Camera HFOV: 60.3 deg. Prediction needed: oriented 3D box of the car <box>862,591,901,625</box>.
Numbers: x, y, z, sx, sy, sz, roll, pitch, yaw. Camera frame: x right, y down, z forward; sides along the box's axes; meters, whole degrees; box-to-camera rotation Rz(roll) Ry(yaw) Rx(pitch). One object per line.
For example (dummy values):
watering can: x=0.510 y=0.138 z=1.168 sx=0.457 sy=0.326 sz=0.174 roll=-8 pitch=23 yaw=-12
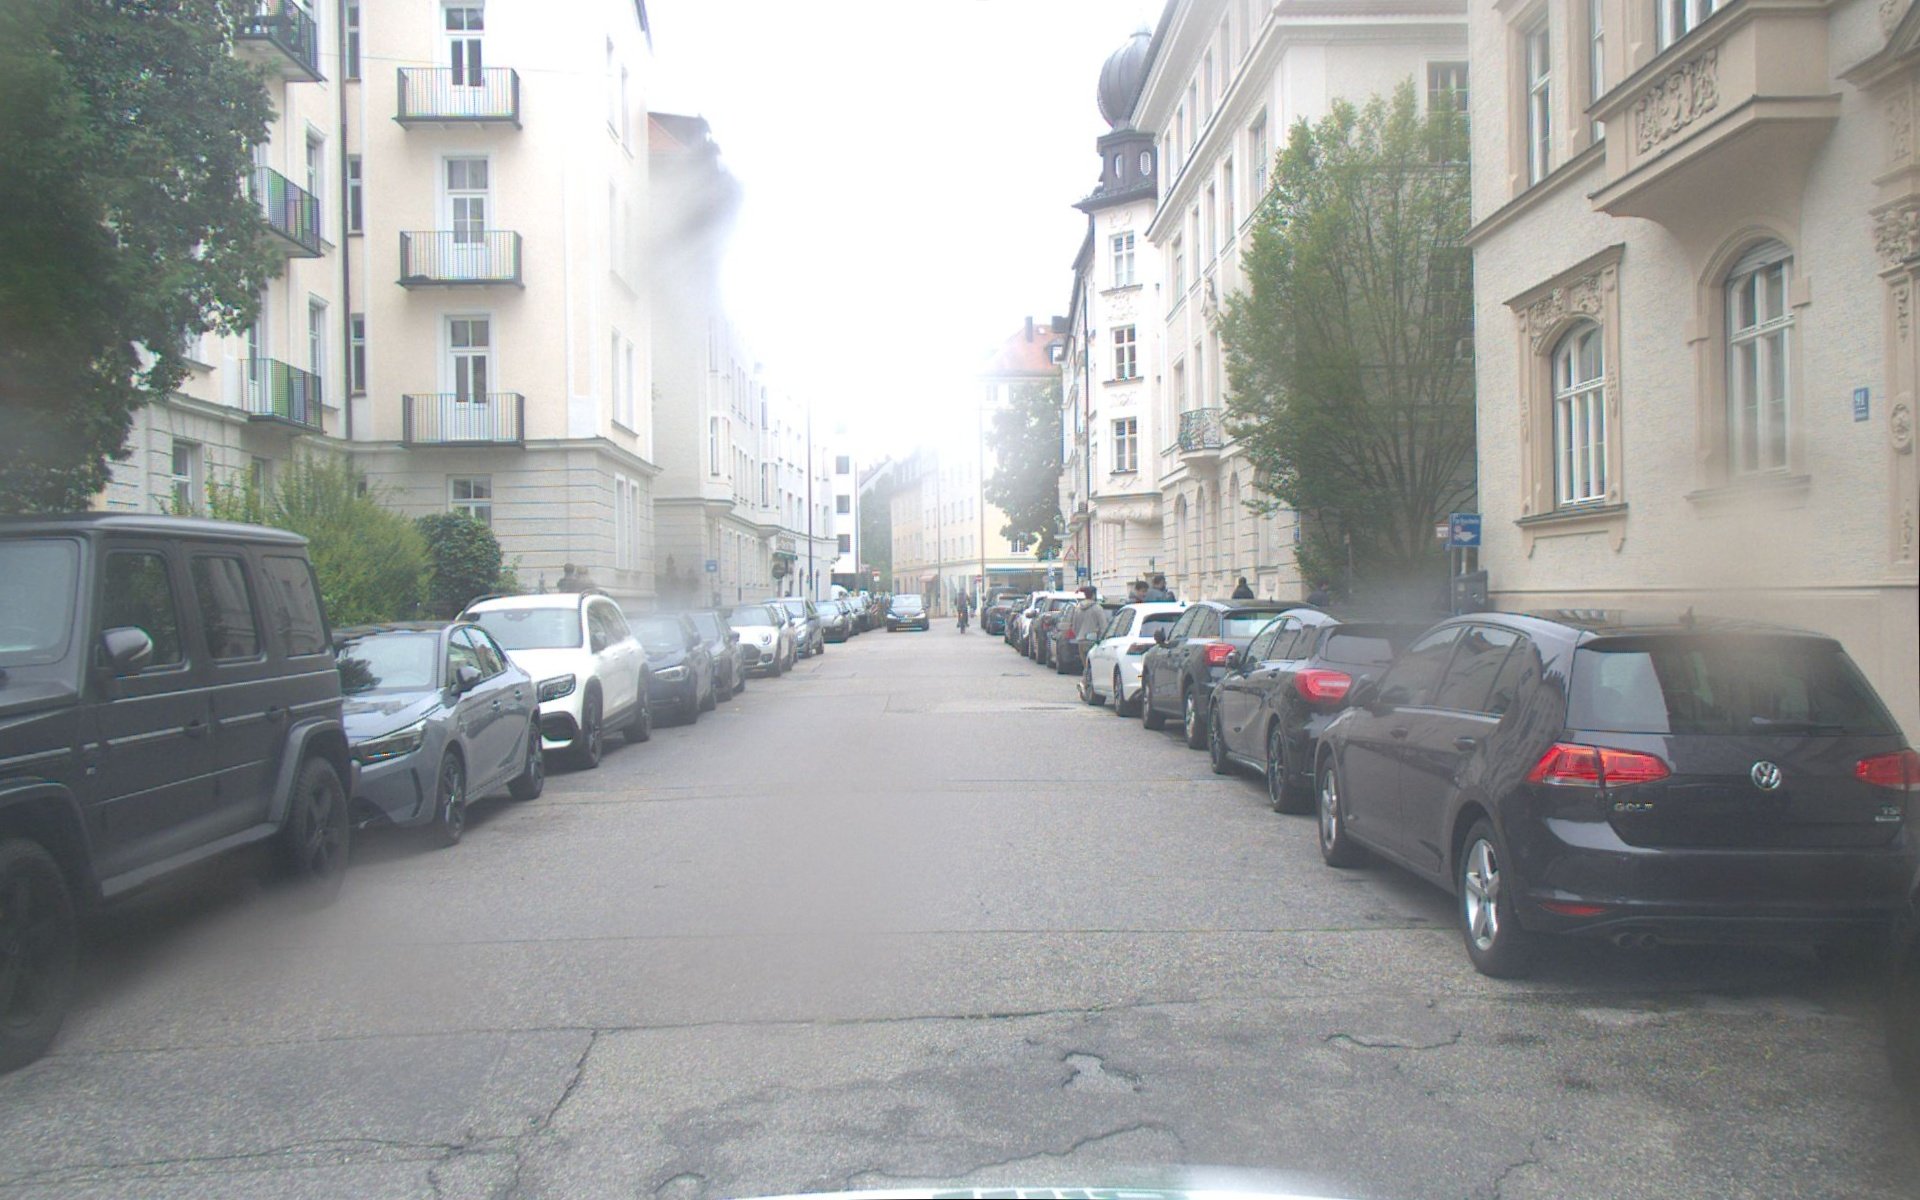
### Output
car: x=-4.488 y=0.439 z=94.734 sx=1.839 sy=1.815 sz=4.001 roll=-2 pitch=0 yaw=2

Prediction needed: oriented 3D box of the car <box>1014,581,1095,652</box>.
car: x=2.427 y=0.385 z=43.512 sx=1.857 sy=1.664 sz=4.391 roll=-1 pitch=1 yaw=0

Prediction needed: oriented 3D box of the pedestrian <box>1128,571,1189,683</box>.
pedestrian: x=3.245 y=0.433 z=27.109 sx=0.864 sy=1.800 sz=0.672 roll=-1 pitch=1 yaw=-2

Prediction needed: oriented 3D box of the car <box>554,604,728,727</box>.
car: x=-4.117 y=0.792 z=21.906 sx=1.733 sy=1.445 sz=3.997 roll=-1 pitch=0 yaw=-3

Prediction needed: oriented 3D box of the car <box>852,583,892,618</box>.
car: x=-4.767 y=0.013 z=89.760 sx=1.805 sy=1.788 sz=4.001 roll=-2 pitch=0 yaw=2

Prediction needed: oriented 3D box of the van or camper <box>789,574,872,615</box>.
van or camper: x=-9.340 y=-0.380 z=119.390 sx=5.795 sy=2.724 sz=1.869 roll=-2 pitch=-2 yaw=-9

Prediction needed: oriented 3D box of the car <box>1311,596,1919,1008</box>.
car: x=2.913 y=0.711 z=7.889 sx=1.608 sy=1.442 sz=4.000 roll=0 pitch=0 yaw=0

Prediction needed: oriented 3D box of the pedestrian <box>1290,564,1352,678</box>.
pedestrian: x=5.998 y=0.341 z=27.509 sx=0.842 sy=1.849 sz=0.678 roll=-1 pitch=1 yaw=-2

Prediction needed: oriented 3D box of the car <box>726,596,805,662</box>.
car: x=-4.716 y=0.678 z=40.577 sx=1.612 sy=1.427 sz=3.997 roll=-4 pitch=0 yaw=-3

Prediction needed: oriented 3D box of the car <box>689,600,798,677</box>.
car: x=-4.390 y=0.743 z=34.086 sx=1.760 sy=1.460 sz=4.078 roll=-1 pitch=0 yaw=-1

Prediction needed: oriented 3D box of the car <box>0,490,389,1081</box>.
car: x=-4.105 y=0.625 z=6.837 sx=1.873 sy=1.919 sz=4.815 roll=-2 pitch=0 yaw=-1

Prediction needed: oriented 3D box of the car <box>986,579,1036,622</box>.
car: x=1.956 y=0.004 z=64.576 sx=1.673 sy=1.615 sz=3.998 roll=0 pitch=1 yaw=-3

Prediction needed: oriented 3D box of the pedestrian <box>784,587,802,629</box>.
pedestrian: x=-7.106 y=0.339 z=70.459 sx=0.684 sy=1.736 sz=0.665 roll=-1 pitch=0 yaw=-3

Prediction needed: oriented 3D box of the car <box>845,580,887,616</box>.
car: x=-4.170 y=-0.110 z=73.895 sx=1.706 sy=1.512 sz=4.180 roll=-1 pitch=0 yaw=-1

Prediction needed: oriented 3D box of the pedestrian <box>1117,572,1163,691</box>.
pedestrian: x=2.764 y=0.478 z=25.480 sx=0.615 sy=1.800 sz=0.673 roll=-1 pitch=1 yaw=1

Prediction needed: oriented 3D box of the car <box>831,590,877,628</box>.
car: x=-4.399 y=0.352 z=68.258 sx=1.775 sy=1.409 sz=4.439 roll=-3 pitch=0 yaw=-4

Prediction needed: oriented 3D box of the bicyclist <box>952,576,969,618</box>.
bicyclist: x=0.025 y=-0.132 z=65.514 sx=0.593 sy=1.634 sz=0.758 roll=-2 pitch=0 yaw=3

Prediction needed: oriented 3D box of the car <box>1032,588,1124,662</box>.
car: x=2.625 y=0.515 z=37.619 sx=1.713 sy=1.551 sz=4.169 roll=-1 pitch=0 yaw=-1

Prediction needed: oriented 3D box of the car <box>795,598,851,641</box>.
car: x=-4.842 y=0.674 z=58.813 sx=1.813 sy=1.390 sz=4.699 roll=-1 pitch=0 yaw=-3

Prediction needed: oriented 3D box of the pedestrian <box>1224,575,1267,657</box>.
pedestrian: x=6.129 y=0.326 z=35.568 sx=0.668 sy=1.708 sz=0.812 roll=-3 pitch=1 yaw=-2

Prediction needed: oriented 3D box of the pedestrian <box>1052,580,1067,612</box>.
pedestrian: x=5.488 y=-0.208 z=91.054 sx=0.666 sy=1.703 sz=0.654 roll=-4 pitch=0 yaw=-3

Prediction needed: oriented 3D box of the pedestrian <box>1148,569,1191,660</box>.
pedestrian: x=4.347 y=0.292 z=34.333 sx=0.668 sy=1.806 sz=0.855 roll=-4 pitch=1 yaw=0

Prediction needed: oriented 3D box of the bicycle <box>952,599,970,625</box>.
bicycle: x=0.043 y=0.465 z=65.481 sx=0.626 sy=1.022 sz=1.575 roll=-2 pitch=0 yaw=3

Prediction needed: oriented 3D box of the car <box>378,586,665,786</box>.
car: x=-4.274 y=0.735 z=16.855 sx=1.770 sy=1.677 sz=4.484 roll=-3 pitch=1 yaw=-2

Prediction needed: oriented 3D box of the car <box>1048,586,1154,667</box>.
car: x=2.763 y=0.485 z=33.230 sx=1.676 sy=1.477 sz=4.224 roll=-1 pitch=1 yaw=-1

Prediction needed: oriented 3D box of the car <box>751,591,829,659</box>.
car: x=-4.569 y=0.643 z=44.911 sx=1.662 sy=1.608 sz=4.061 roll=-4 pitch=1 yaw=-1

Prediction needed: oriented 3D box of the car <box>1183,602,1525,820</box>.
car: x=2.888 y=0.756 z=12.993 sx=1.706 sy=1.422 sz=4.022 roll=1 pitch=-1 yaw=0

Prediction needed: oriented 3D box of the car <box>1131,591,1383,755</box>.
car: x=3.133 y=0.711 z=18.256 sx=1.756 sy=1.524 sz=4.079 roll=1 pitch=1 yaw=-4

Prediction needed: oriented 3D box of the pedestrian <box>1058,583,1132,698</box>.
pedestrian: x=2.026 y=0.600 z=24.953 sx=0.837 sy=1.686 sz=0.863 roll=-1 pitch=0 yaw=-17

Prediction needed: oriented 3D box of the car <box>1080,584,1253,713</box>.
car: x=2.713 y=0.581 z=22.549 sx=1.630 sy=1.534 sz=4.062 roll=-1 pitch=1 yaw=-3

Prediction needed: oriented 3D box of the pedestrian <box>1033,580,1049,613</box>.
pedestrian: x=4.442 y=-0.199 z=90.717 sx=0.689 sy=1.758 sz=0.703 roll=-2 pitch=0 yaw=-3

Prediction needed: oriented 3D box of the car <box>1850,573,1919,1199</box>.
car: x=3.238 y=0.714 z=2.417 sx=1.707 sy=1.542 sz=3.957 roll=0 pitch=0 yaw=-1

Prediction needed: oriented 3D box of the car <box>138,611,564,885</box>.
car: x=-4.082 y=0.891 z=11.790 sx=1.610 sy=1.455 sz=3.918 roll=-4 pitch=0 yaw=-2

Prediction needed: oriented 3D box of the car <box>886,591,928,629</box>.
car: x=-2.324 y=0.423 z=72.992 sx=1.689 sy=1.560 sz=4.085 roll=-4 pitch=0 yaw=-1

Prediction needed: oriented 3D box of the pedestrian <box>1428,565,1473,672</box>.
pedestrian: x=8.543 y=0.317 z=28.834 sx=0.560 sy=1.825 sz=0.554 roll=-2 pitch=0 yaw=-3

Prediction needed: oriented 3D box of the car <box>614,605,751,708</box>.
car: x=-4.424 y=0.851 z=26.863 sx=1.701 sy=1.388 sz=4.190 roll=-3 pitch=1 yaw=-4
